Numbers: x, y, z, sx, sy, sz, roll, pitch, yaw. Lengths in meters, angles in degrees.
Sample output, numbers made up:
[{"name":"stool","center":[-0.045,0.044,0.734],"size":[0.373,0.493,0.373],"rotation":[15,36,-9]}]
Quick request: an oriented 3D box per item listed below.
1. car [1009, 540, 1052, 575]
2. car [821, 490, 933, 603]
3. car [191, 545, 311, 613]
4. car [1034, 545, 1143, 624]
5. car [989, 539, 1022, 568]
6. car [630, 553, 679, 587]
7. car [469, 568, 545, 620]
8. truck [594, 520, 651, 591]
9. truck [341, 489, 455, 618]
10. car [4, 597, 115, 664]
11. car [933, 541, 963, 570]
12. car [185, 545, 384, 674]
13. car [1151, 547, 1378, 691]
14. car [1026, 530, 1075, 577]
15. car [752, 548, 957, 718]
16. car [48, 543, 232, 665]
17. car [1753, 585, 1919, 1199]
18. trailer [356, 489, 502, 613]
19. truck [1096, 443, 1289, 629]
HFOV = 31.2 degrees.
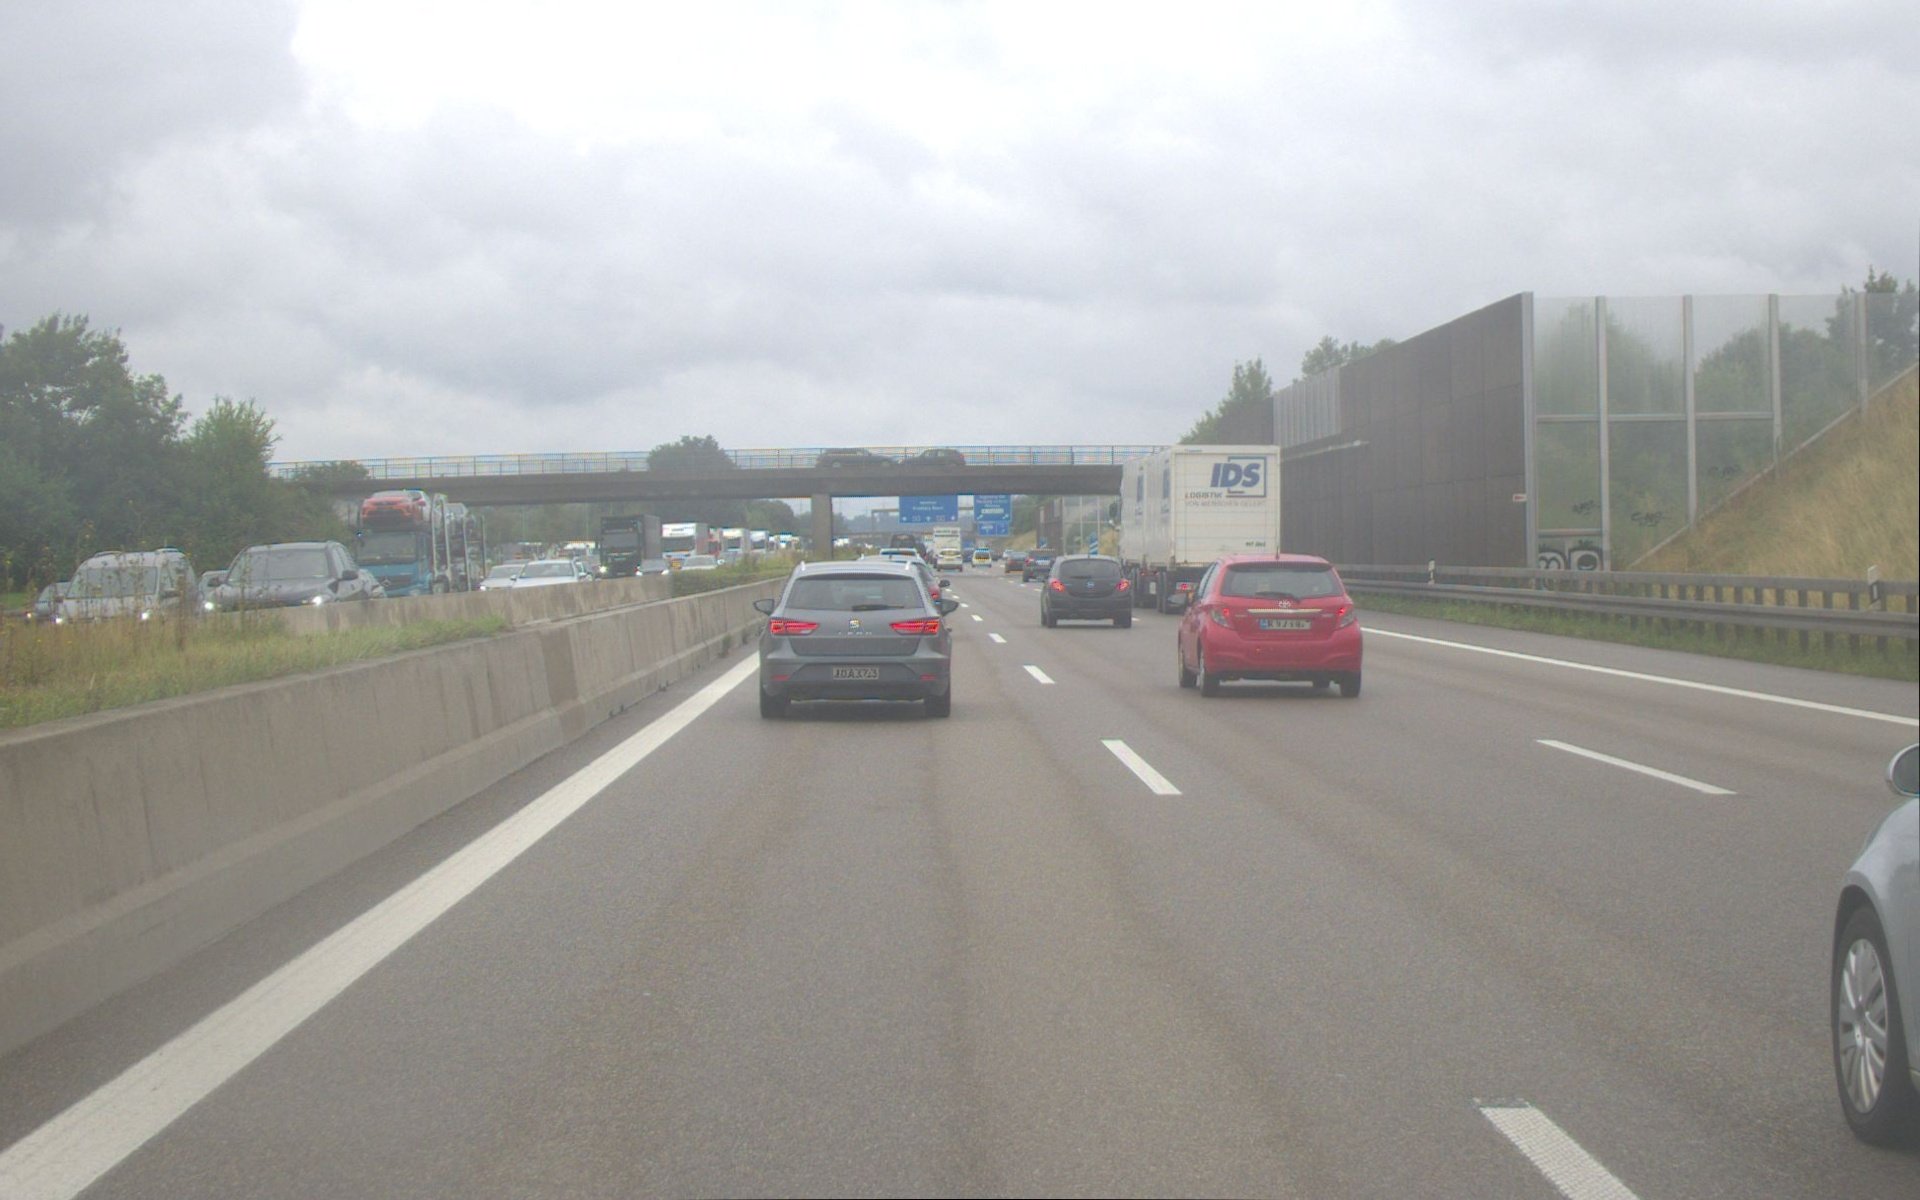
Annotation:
[{"name":"car","center":[3.420,-2.062,166.842],"size":[1.845,1.681,4.000],"rotation":[1,0,-2]},{"name":"car","center":[-1.417,-0.920,59.199],"size":[1.825,1.844,4.000],"rotation":[-1,1,-1]},{"name":"car","center":[-18.294,-0.570,88.854],"size":[2.093,1.704,4.800],"rotation":[0,1,0]},{"name":"car","center":[2.562,-0.334,69.439],"size":[1.921,1.516,4.623],"rotation":[0,1,-1]},{"name":"car","center":[2.986,-3.042,225.415],"size":[1.993,1.806,4.228],"rotation":[-2,1,-1]},{"name":"car","center":[-15.973,-1.572,179.974],"size":[2.093,1.704,4.800],"rotation":[0,1,0]},{"name":"car","center":[-15.470,-0.220,117.643],"size":[2.093,1.704,5.166],"rotation":[0,1,-2]},{"name":"truck","center":[-19.882,-2.613,202.892],"size":[2.757,4.036,6.255],"rotation":[1,0,-1]},{"name":"truck","center":[-19.119,-1.561,117.302],"size":[2.956,4.227,6.235],"rotation":[1,0,-1]},{"name":"car","center":[-22.640,0.756,86.585],"size":[1.884,1.590,4.000],"rotation":[1,0,-3]},{"name":"car","center":[-0.826,-3.081,238.694],"size":[1.993,2.007,4.242],"rotation":[1,0,-1]},{"name":"car","center":[-9.978,0.095,51.172],"size":[1.993,1.758,5.072],"rotation":[-1,1,-1]},{"name":"car","center":[3.230,0.158,37.317],"size":[1.891,1.442,4.685],"rotation":[0,1,-2]},{"name":"car","center":[3.976,-2.028,151.306],"size":[1.993,2.007,4.000],"rotation":[1,0,-1]},{"name":"car","center":[-0.966,0.270,32.028],"size":[1.768,1.462,4.000],"rotation":[1,0,-1]},{"name":"car","center":[-13.730,0.023,57.851],"size":[1.883,1.918,5.278],"rotation":[-1,1,-1]},{"name":"car","center":[3.106,0.697,7.225],"size":[1.742,1.420,4.517],"rotation":[-1,1,-1]},{"name":"trailer","center":[-19.190,-1.739,125.430],"size":[2.998,4.227,15.708],"rotation":[1,0,-1]},{"name":"truck","center":[5.761,-1.557,89.192],"size":[3.283,4.280,19.034],"rotation":[1,0,-1]}]
